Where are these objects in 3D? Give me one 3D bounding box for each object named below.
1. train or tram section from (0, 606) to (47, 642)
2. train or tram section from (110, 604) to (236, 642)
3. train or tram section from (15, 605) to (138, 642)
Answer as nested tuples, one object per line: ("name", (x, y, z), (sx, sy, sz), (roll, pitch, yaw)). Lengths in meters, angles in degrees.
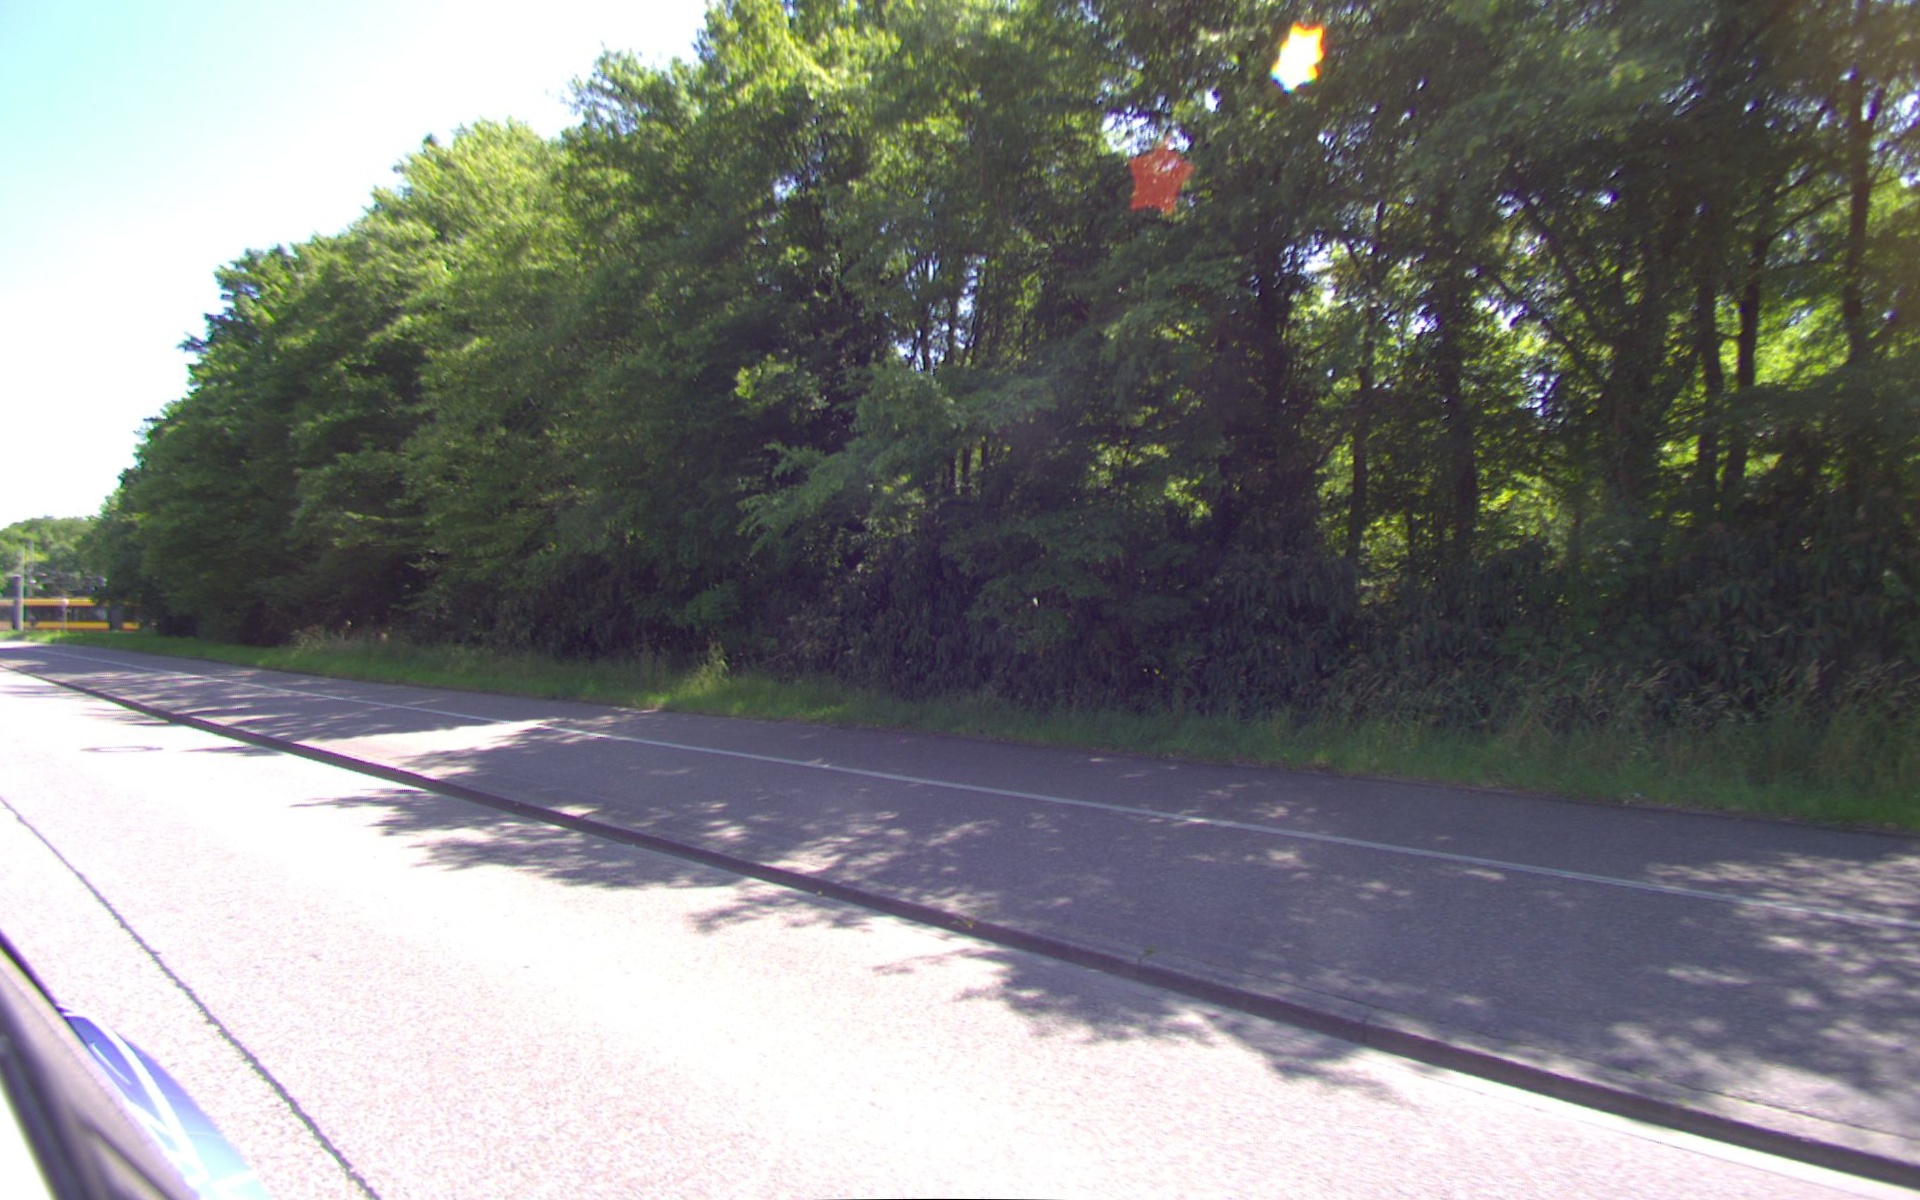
("train or tram section", (-94.575, 2.408, 100.966), (10.822, 3.492, 2.550), (-1, -2, 33))
("train or tram section", (-75.968, 2.177, 97.894), (9.192, 3.492, 2.791), (0, -1, -17))
("train or tram section", (-84.948, 2.255, 97.314), (10.728, 3.492, 2.644), (-1, -1, 9))
